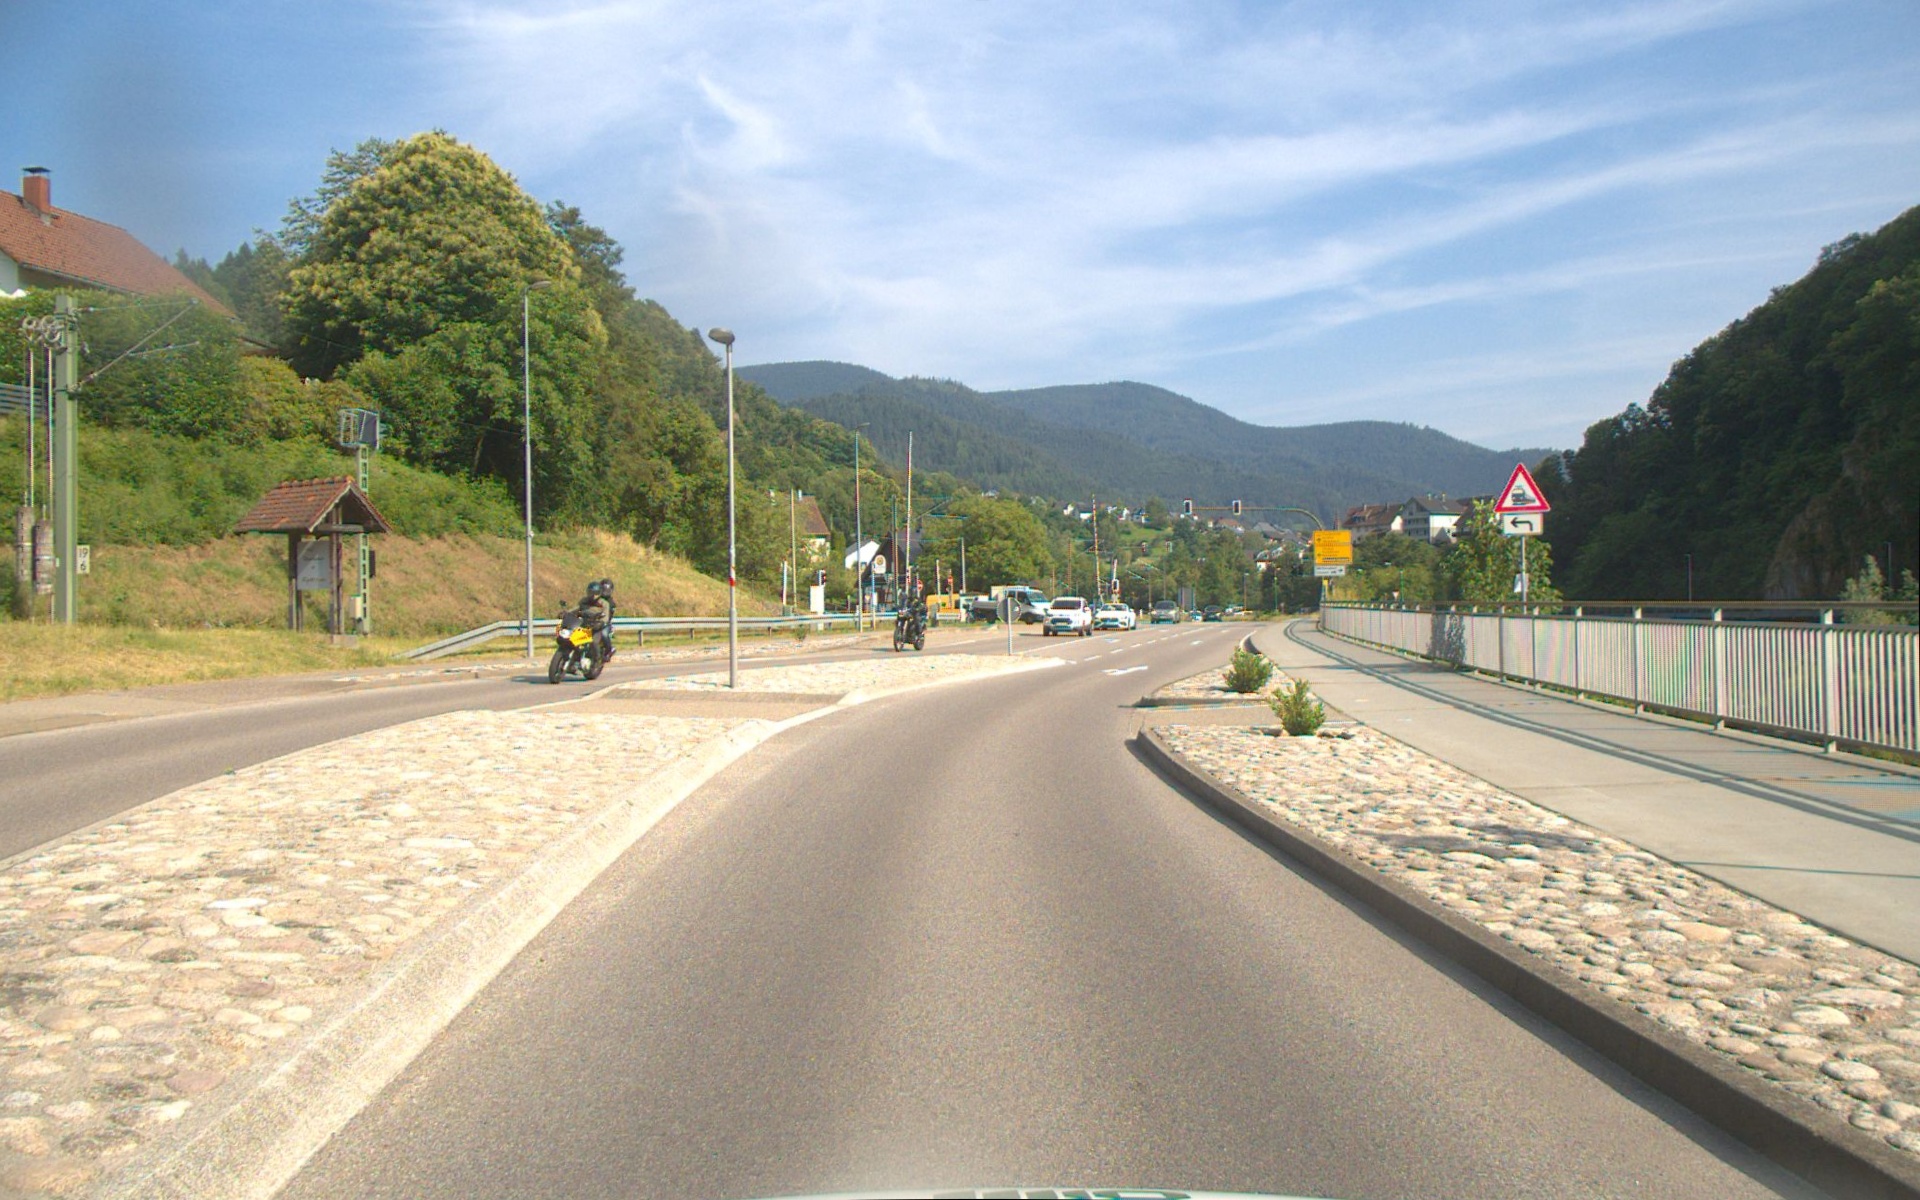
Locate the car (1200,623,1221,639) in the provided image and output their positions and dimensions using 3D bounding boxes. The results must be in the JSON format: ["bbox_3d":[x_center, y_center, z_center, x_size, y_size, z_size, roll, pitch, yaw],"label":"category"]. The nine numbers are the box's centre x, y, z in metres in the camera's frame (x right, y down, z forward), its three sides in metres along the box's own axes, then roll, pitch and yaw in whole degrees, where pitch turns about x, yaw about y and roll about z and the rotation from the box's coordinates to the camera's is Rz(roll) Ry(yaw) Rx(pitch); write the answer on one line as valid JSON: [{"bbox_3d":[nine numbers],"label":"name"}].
[{"bbox_3d":[23.361,2.873,153.930,1.735,1.441,3.788,-1,-1,11],"label":"car"}]

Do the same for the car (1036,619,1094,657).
[{"bbox_3d":[4.511,1.620,70.612,1.726,1.588,4.002,0,-2,15],"label":"car"}]

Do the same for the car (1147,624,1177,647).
[{"bbox_3d":[14.288,2.522,116.940,1.721,1.548,4.207,1,-3,12],"label":"car"}]

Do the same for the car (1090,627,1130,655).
[{"bbox_3d":[7.969,2.164,87.590,1.744,1.424,4.830,0,-1,10],"label":"car"}]

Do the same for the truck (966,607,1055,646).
[{"bbox_3d":[3.166,1.640,104.511,5.902,2.306,1.986,0,0,45],"label":"truck"}]
